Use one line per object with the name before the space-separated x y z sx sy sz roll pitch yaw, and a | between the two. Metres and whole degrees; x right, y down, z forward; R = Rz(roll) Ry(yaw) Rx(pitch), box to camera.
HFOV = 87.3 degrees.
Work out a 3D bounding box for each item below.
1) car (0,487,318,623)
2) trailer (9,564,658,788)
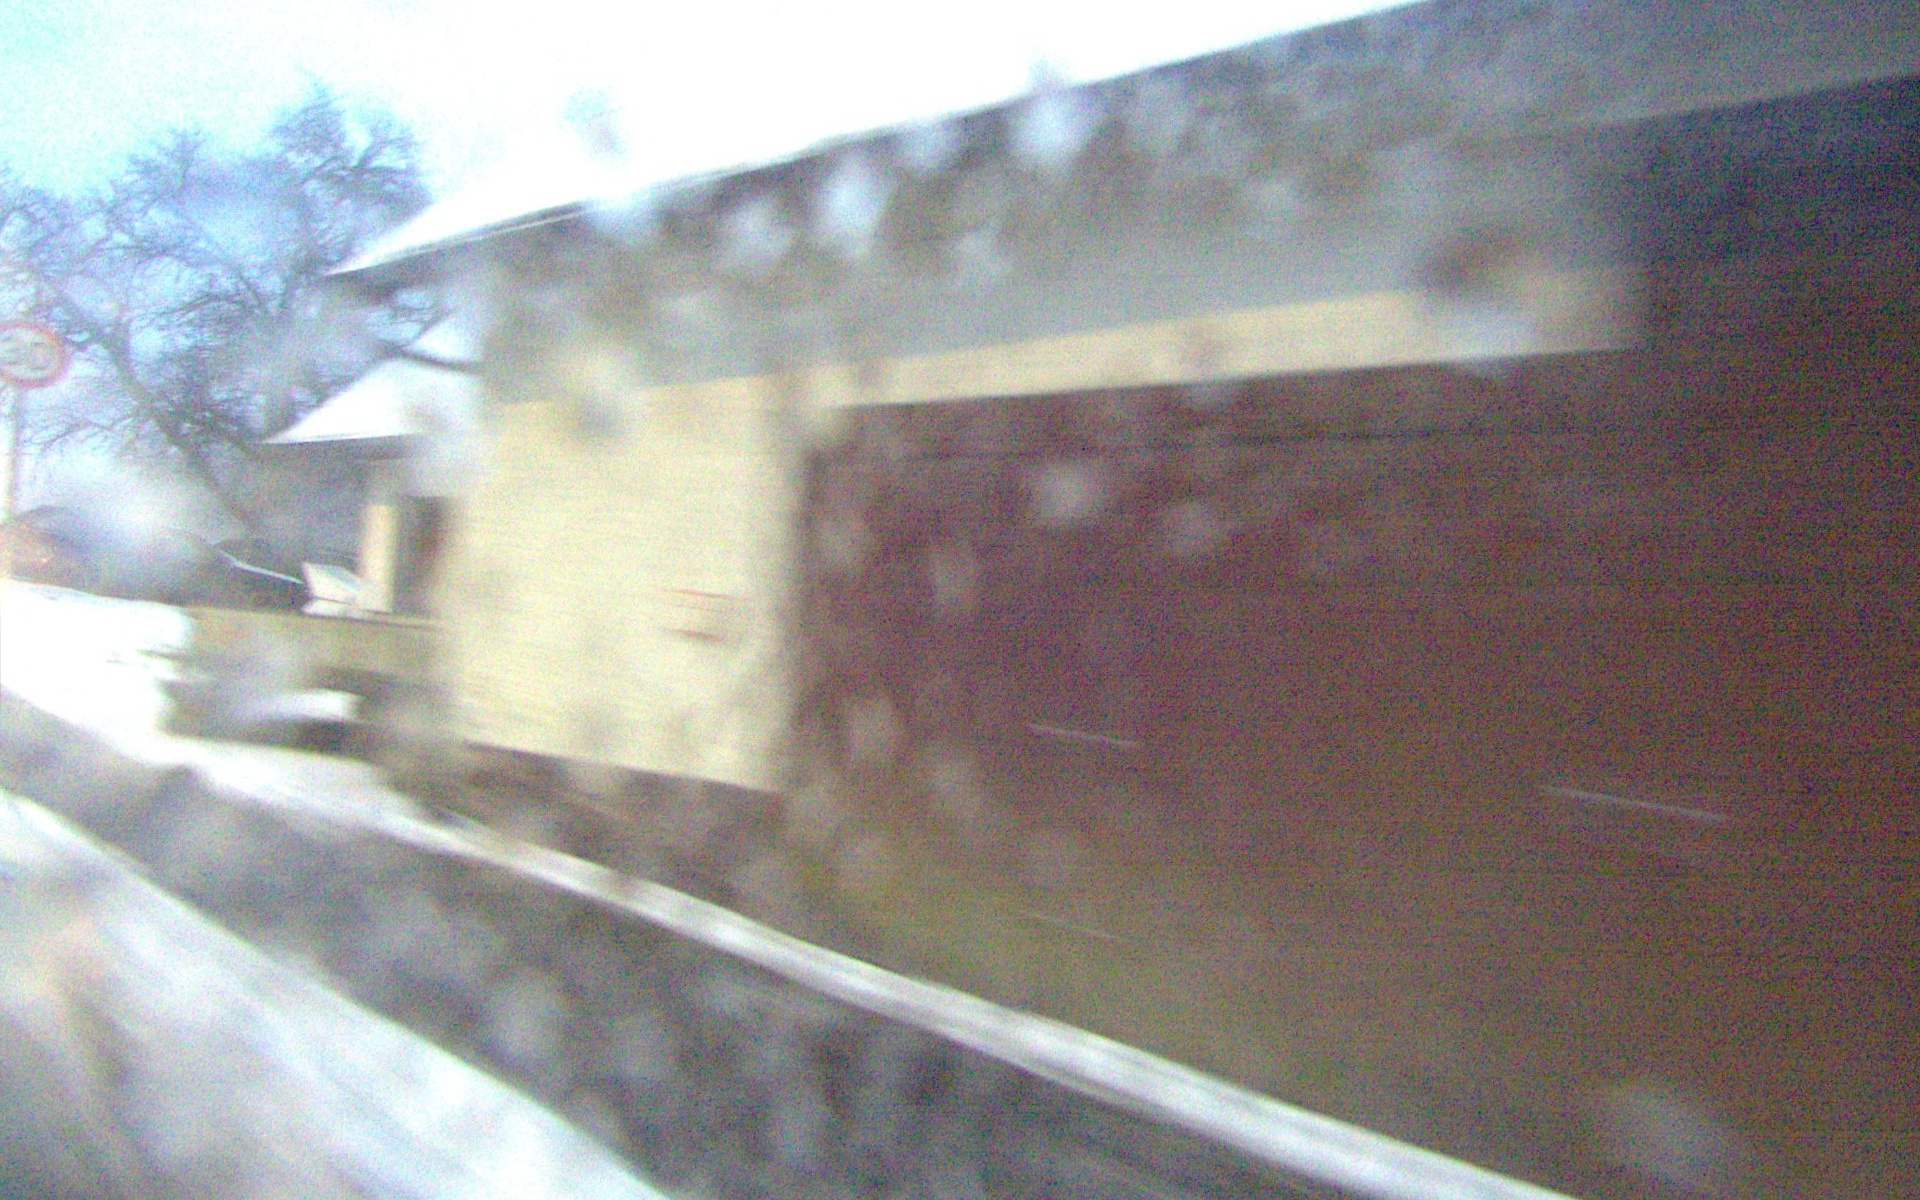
car | -13.900 -0.724 17.212 2.009 1.395 4.450 6 -6 43
trailer | -4.353 0.452 7.142 3.923 0.958 1.550 6 0 13
